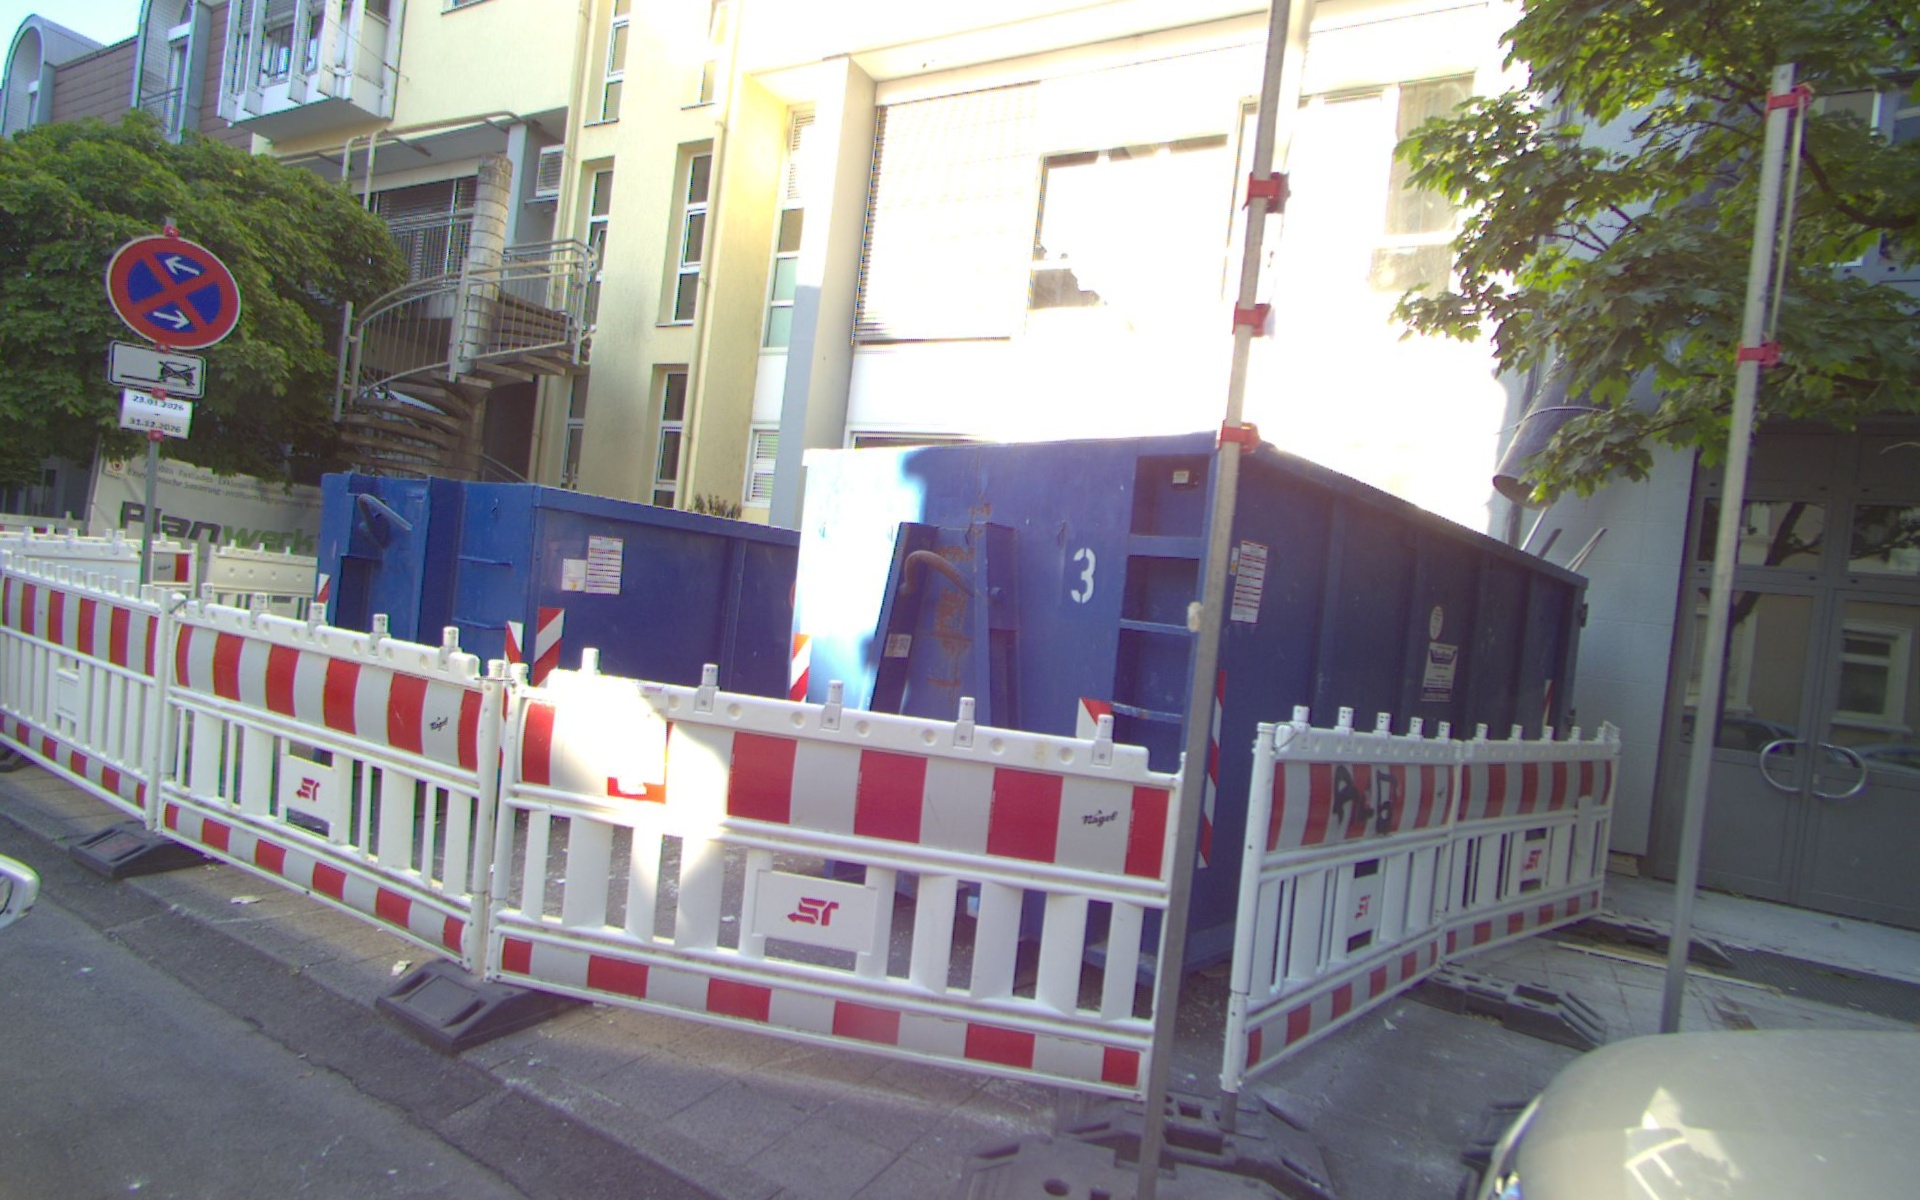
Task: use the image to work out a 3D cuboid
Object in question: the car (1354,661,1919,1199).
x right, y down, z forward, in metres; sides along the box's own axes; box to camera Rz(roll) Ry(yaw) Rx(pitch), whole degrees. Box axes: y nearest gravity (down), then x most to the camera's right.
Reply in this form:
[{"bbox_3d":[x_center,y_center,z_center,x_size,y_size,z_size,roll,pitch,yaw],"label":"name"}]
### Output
[{"bbox_3d":[2.403,1.034,0.864,3.668,1.495,1.677,7,1,32],"label":"car"}]
